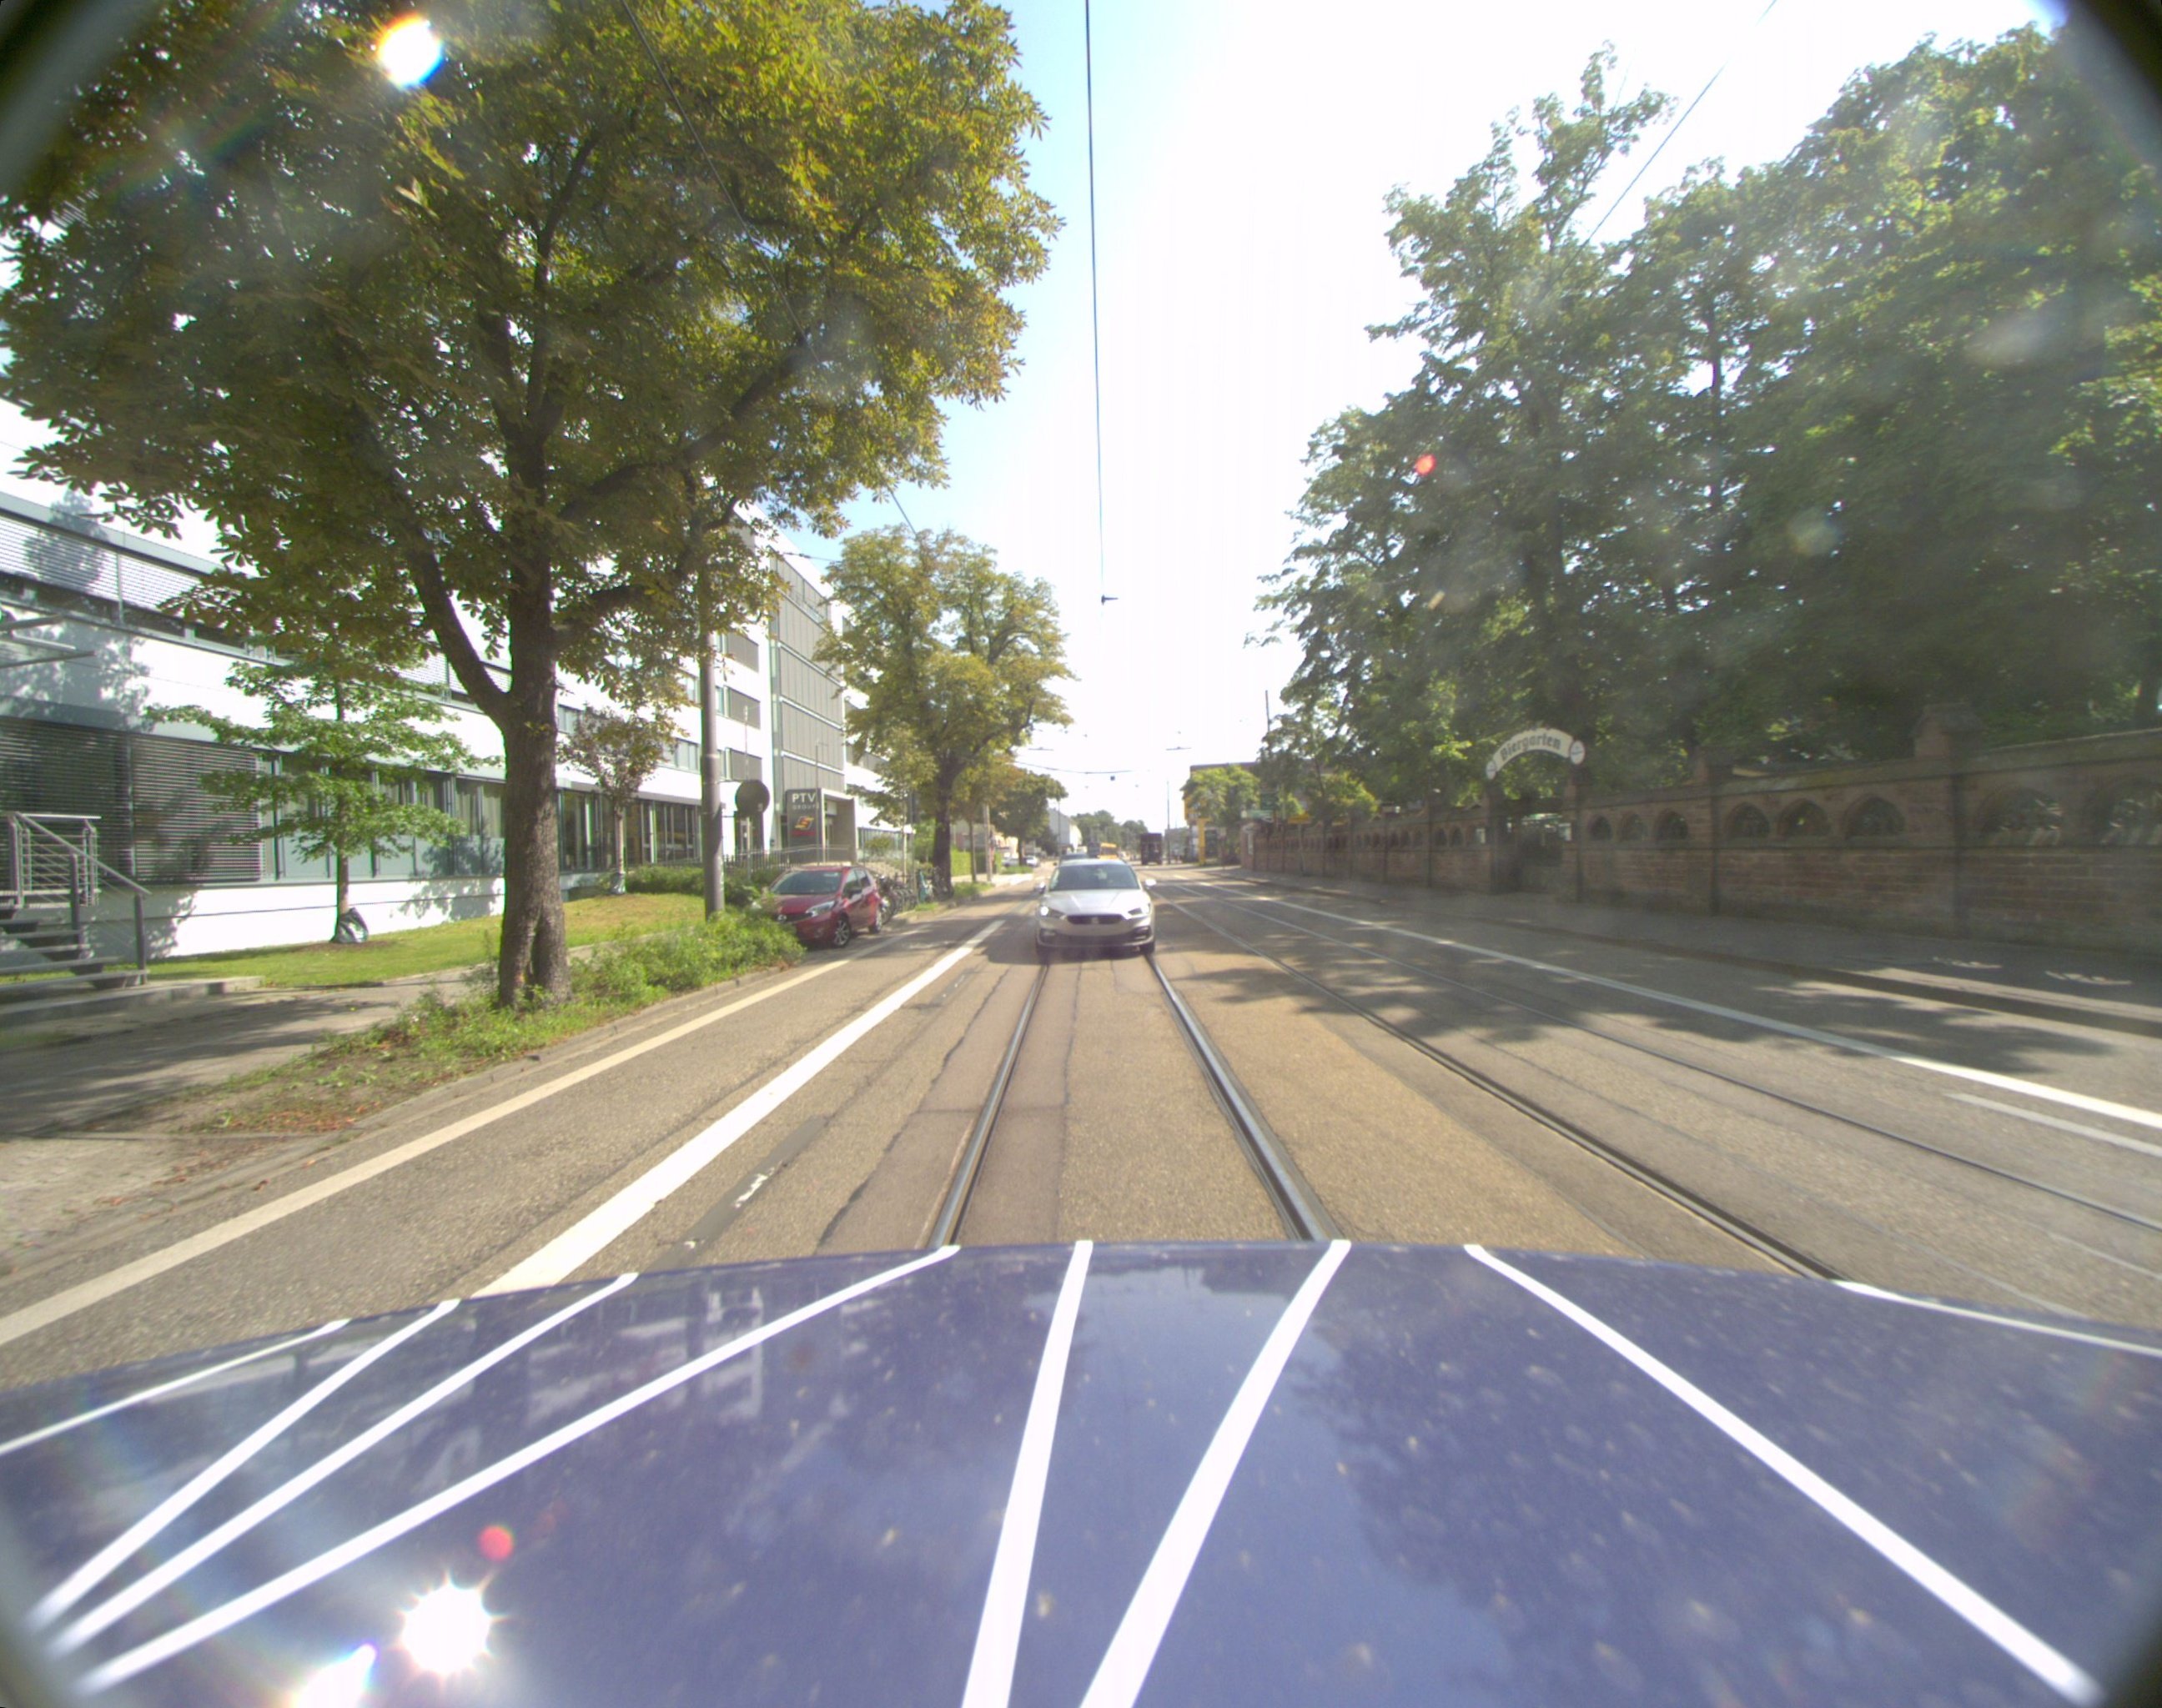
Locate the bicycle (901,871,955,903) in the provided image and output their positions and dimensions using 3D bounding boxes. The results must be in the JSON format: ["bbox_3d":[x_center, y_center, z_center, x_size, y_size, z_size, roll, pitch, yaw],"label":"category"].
[{"bbox_3d":[-5.380,1.172,26.807,1.775,1.065,0.540,-1,1,0],"label":"bicycle"}]

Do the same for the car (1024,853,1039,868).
[{"bbox_3d":[-6.918,0.894,106.283,1.960,1.910,4.552,-2,1,-4],"label":"car"}]

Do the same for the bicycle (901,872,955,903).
[{"bbox_3d":[-5.391,1.172,26.785,1.775,1.065,0.540,-1,1,0],"label":"bicycle"}]

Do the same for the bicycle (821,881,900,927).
[{"bbox_3d":[-5.437,1.235,18.816,1.775,1.065,0.540,-1,1,0],"label":"bicycle"}]

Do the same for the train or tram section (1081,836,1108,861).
[{"bbox_3d":[2.506,-0.961,131.905,4.111,3.711,24.379,-2,0,2],"label":"train or tram section"}]

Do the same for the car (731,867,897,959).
[{"bbox_3d":[-5.148,1.064,15.340,1.760,1.453,4.274,-1,0,1],"label":"car"}]

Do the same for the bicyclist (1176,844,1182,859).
[{"bbox_3d":[12.911,-0.307,99.690,0.642,1.918,1.176,-2,1,10],"label":"bicyclist"}]

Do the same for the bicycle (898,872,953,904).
[{"bbox_3d":[-5.356,1.175,26.206,1.775,1.065,0.540,-1,1,0],"label":"bicycle"}]

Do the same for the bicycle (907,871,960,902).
[{"bbox_3d":[-5.323,1.164,27.502,1.775,1.065,0.540,-1,1,0],"label":"bicycle"}]

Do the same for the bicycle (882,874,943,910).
[{"bbox_3d":[-5.310,1.190,23.985,1.775,1.065,0.540,-1,1,0],"label":"bicycle"}]

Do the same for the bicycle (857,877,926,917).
[{"bbox_3d":[-5.322,1.210,21.403,1.775,1.065,0.540,-1,1,0],"label":"bicycle"}]

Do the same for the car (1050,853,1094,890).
[{"bbox_3d":[-0.381,0.752,34.968,1.834,1.543,4.032,-2,1,0],"label":"car"}]

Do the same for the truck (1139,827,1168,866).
[{"bbox_3d":[9.409,-1.000,96.712,3.171,4.427,16.847,-2,0,7],"label":"truck"}]

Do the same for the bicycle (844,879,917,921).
[{"bbox_3d":[-5.338,1.219,20.301,1.775,1.065,0.540,-1,1,0],"label":"bicycle"}]

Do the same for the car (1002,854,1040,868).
[{"bbox_3d":[-7.275,0.886,92.260,4.552,1.506,1.960,-2,1,-4],"label":"car"}]

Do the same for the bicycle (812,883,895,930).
[{"bbox_3d":[-5.387,1.239,18.041,1.775,1.065,0.540,-1,1,0],"label":"bicycle"}]

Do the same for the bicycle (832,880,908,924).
[{"bbox_3d":[-5.400,1.228,19.490,1.775,1.065,0.540,-1,1,0],"label":"bicycle"}]

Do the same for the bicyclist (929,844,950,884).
[{"bbox_3d":[-7.297,0.493,39.227,0.783,2.002,1.274,-2,1,-1],"label":"bicyclist"}]

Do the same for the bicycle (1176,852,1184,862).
[{"bbox_3d":[12.961,0.378,99.579,0.787,1.233,2.035,-3,1,12],"label":"bicycle"}]

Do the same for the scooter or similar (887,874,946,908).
[{"bbox_3d":[-5.321,1.186,24.573,1.775,1.065,0.540,-1,1,0],"label":"scooter or similar"}]

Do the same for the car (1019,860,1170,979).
[{"bbox_3d":[0.197,0.874,12.365,1.928,1.465,4.816,-2,0,0],"label":"car"}]
